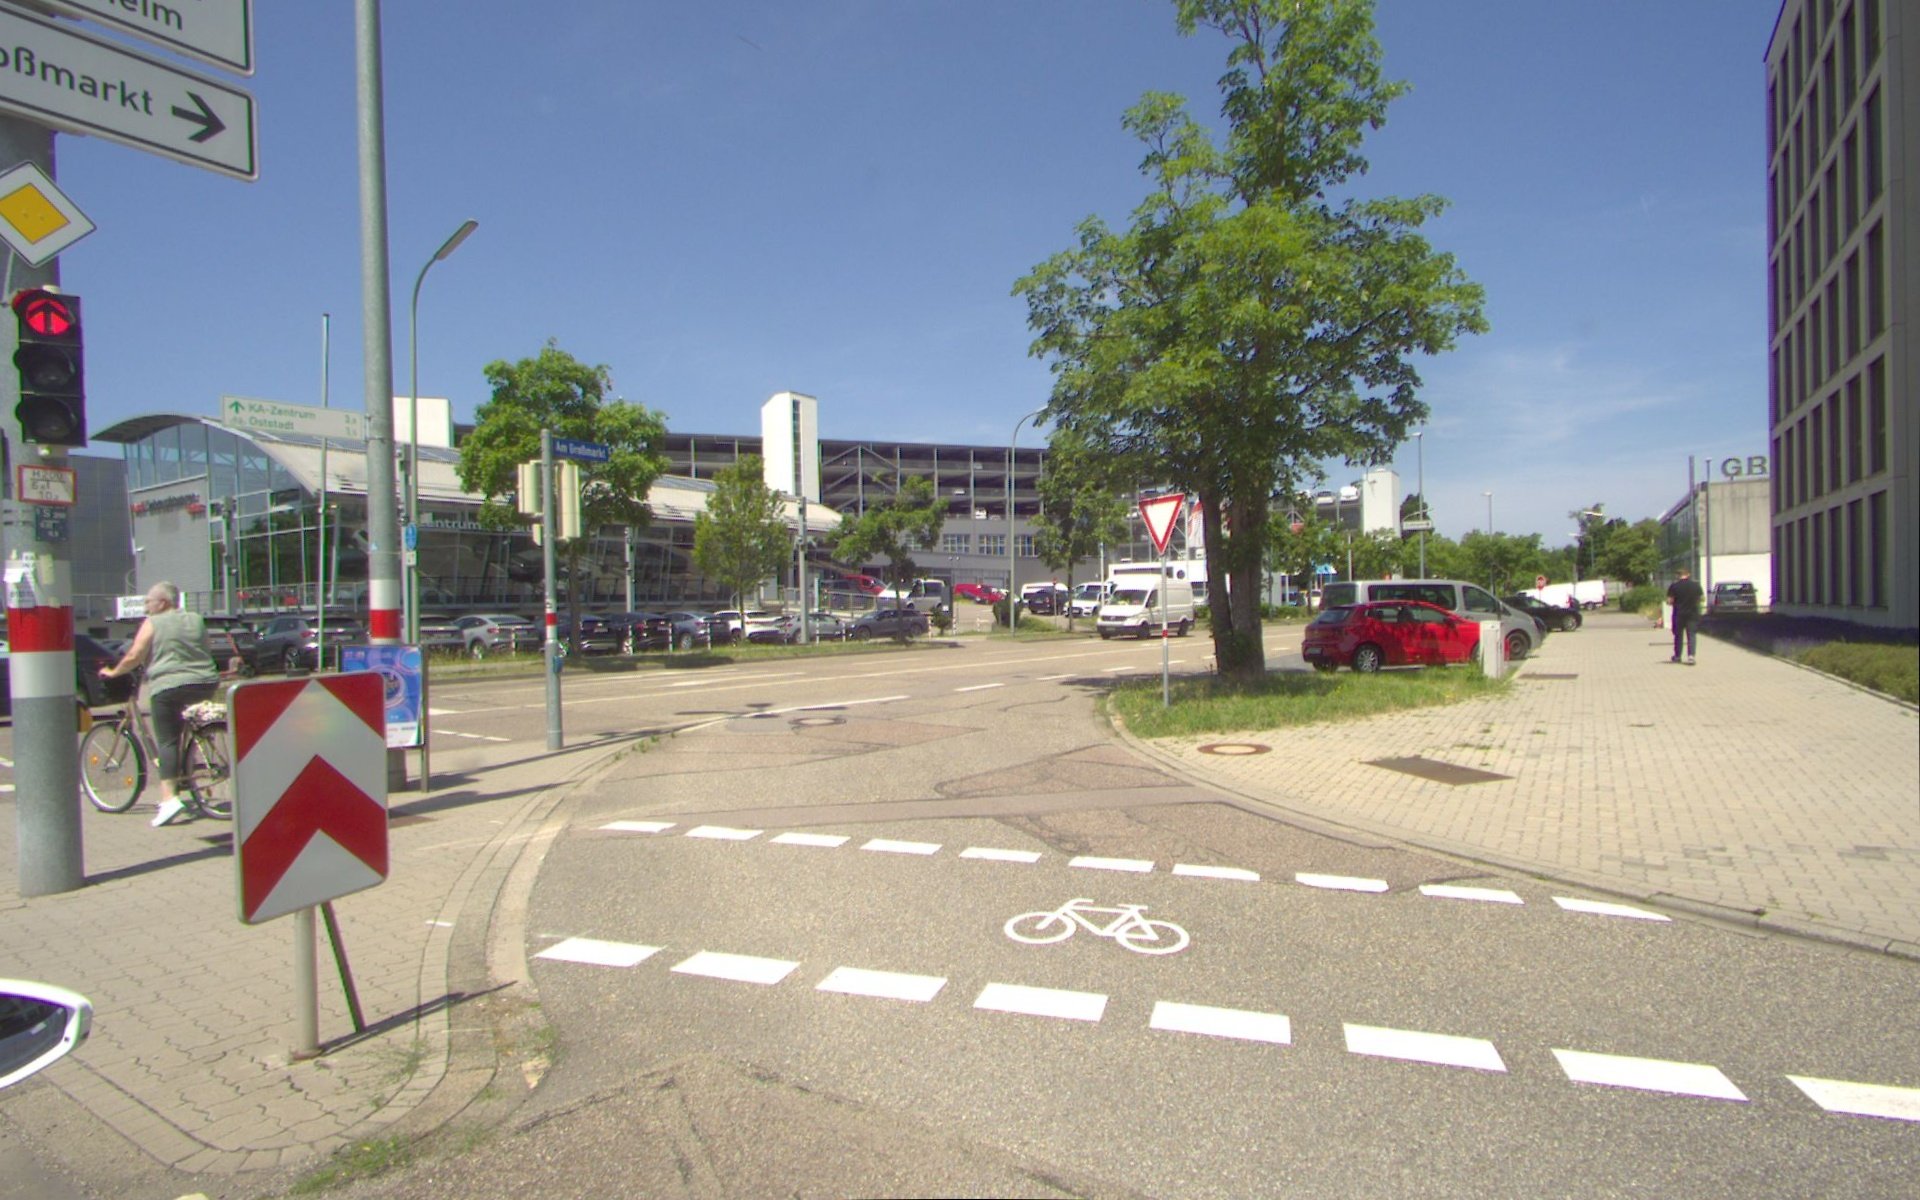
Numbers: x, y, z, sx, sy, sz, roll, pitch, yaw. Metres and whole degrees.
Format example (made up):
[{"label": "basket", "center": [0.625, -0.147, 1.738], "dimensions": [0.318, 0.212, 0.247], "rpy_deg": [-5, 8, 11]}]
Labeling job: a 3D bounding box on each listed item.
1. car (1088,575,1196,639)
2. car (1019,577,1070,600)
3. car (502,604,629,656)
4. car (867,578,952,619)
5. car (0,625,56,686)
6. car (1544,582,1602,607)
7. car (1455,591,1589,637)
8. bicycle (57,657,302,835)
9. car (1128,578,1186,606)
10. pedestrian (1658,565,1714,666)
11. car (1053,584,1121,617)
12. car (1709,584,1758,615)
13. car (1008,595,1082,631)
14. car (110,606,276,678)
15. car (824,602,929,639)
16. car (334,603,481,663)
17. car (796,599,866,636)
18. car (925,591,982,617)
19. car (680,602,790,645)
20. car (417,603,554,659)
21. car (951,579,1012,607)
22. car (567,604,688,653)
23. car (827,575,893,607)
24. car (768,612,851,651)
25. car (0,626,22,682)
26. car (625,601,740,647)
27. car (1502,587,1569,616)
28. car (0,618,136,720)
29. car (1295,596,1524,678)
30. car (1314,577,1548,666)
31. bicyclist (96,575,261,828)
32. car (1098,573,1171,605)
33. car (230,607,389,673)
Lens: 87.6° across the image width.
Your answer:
[{"label": "car", "center": [7.964, 0.307, 43.292], "dimensions": [2.077, 2.567, 5.757], "rpy_deg": [0, 0, 39]}, {"label": "car", "center": [7.772, -1.041, 92.225], "dimensions": [4.257, 2.040, 1.989], "rpy_deg": [-1, 0, 32]}, {"label": "car", "center": [-13.596, 1.001, 34.425], "dimensions": [4.410, 1.662, 1.823], "rpy_deg": [-1, 1, 32]}, {"label": "car", "center": [-2.650, -0.078, 53.906], "dimensions": [1.972, 2.040, 5.117], "rpy_deg": [-1, 0, 32]}, {"label": "car", "center": [-25.175, 1.400, 24.120], "dimensions": [1.973, 1.476, 4.729], "rpy_deg": [0, 0, 34]}, {"label": "car", "center": [55.196, -0.519, 90.132], "dimensions": [4.304, 2.149, 2.080], "rpy_deg": [-1, 0, 36]}, {"label": "car", "center": [21.648, 0.552, 38.698], "dimensions": [4.075, 1.558, 1.815], "rpy_deg": [-3, -1, 2]}, {"label": "bicycle", "center": [-5.920, 1.033, 7.574], "dimensions": [1.891, 1.142, 0.786], "rpy_deg": [0, 0, 29]}, {"label": "car", "center": [15.402, -0.623, 78.294], "dimensions": [3.945, 2.040, 1.988], "rpy_deg": [-1, 0, 34]}, {"label": "pedestrian", "center": [13.789, 0.292, 19.016], "dimensions": [0.764, 1.869, 0.861], "rpy_deg": [-2, 0, 40]}, {"label": "car", "center": [8.203, 0.033, 64.673], "dimensions": [3.943, 2.040, 1.840], "rpy_deg": [-1, 0, 32]}, {"label": "car", "center": [42.087, -0.036, 54.539], "dimensions": [1.765, 1.542, 3.556], "rpy_deg": [-2, 0, 33]}, {"label": "car", "center": [5.082, 0.778, 60.195], "dimensions": [3.943, 2.040, 1.989], "rpy_deg": [-1, 0, 32]}, {"label": "car", "center": [-19.424, 1.016, 25.325], "dimensions": [4.207, 1.661, 1.989], "rpy_deg": [-1, 0, 32]}, {"label": "car", "center": [-3.950, 0.939, 47.662], "dimensions": [4.702, 1.662, 1.821], "rpy_deg": [-1, 1, -35]}, {"label": "car", "center": [-16.626, 0.958, 30.103], "dimensions": [4.377, 1.661, 1.989], "rpy_deg": [-1, 1, 32]}, {"label": "car", "center": [-7.449, 1.017, 58.135], "dimensions": [1.839, 2.040, 3.733], "rpy_deg": [-1, 0, 41]}, {"label": "car", "center": [-0.475, 0.311, 74.386], "dimensions": [3.943, 1.810, 1.730], "rpy_deg": [-1, 0, 32]}, {"label": "car", "center": [-9.286, 0.944, 41.194], "dimensions": [4.410, 1.662, 1.823], "rpy_deg": [-1, 1, 32]}, {"label": "car", "center": [-15.222, 0.956, 32.065], "dimensions": [4.460, 1.662, 1.881], "rpy_deg": [-1, 1, 32]}, {"label": "car", "center": [1.669, -0.552, 77.861], "dimensions": [4.286, 2.040, 1.990], "rpy_deg": [-1, 0, 30]}, {"label": "car", "center": [-12.246, 1.021, 36.766], "dimensions": [4.410, 1.661, 1.823], "rpy_deg": [-1, 0, 32]}, {"label": "car", "center": [-6.712, -0.605, 67.424], "dimensions": [3.937, 2.040, 1.992], "rpy_deg": [-1, 0, 27]}, {"label": "car", "center": [-7.385, 1.513, 49.219], "dimensions": [3.659, 1.801, 1.739], "rpy_deg": [-1, 0, -31]}, {"label": "car", "center": [-27.300, 1.467, 25.448], "dimensions": [1.973, 1.476, 4.729], "rpy_deg": [-2, -1, 34]}, {"label": "car", "center": [-10.852, 0.914, 39.048], "dimensions": [4.410, 1.662, 1.823], "rpy_deg": [-1, 1, 32]}, {"label": "car", "center": [41.674, 0.137, 72.533], "dimensions": [3.949, 2.040, 1.986], "rpy_deg": [-1, 0, 37]}, {"label": "car", "center": [-14.776, 1.027, 14.501], "dimensions": [1.654, 1.429, 4.200], "rpy_deg": [-2, -1, 42]}, {"label": "car", "center": [8.961, 0.703, 20.090], "dimensions": [3.924, 1.454, 1.609], "rpy_deg": [-2, 0, -8]}, {"label": "car", "center": [10.901, 0.473, 23.279], "dimensions": [4.814, 1.839, 1.704], "rpy_deg": [-2, 0, -10]}, {"label": "bicyclist", "center": [-5.841, 0.720, 7.498], "dimensions": [0.742, 1.772, 0.733], "rpy_deg": [0, 0, 28]}, {"label": "car", "center": [12.007, -0.752, 69.048], "dimensions": [4.578, 2.040, 1.989], "rpy_deg": [-1, 0, 32]}, {"label": "car", "center": [-17.930, 1.038, 27.556], "dimensions": [4.492, 1.661, 1.989], "rpy_deg": [-1, 0, 32]}]
